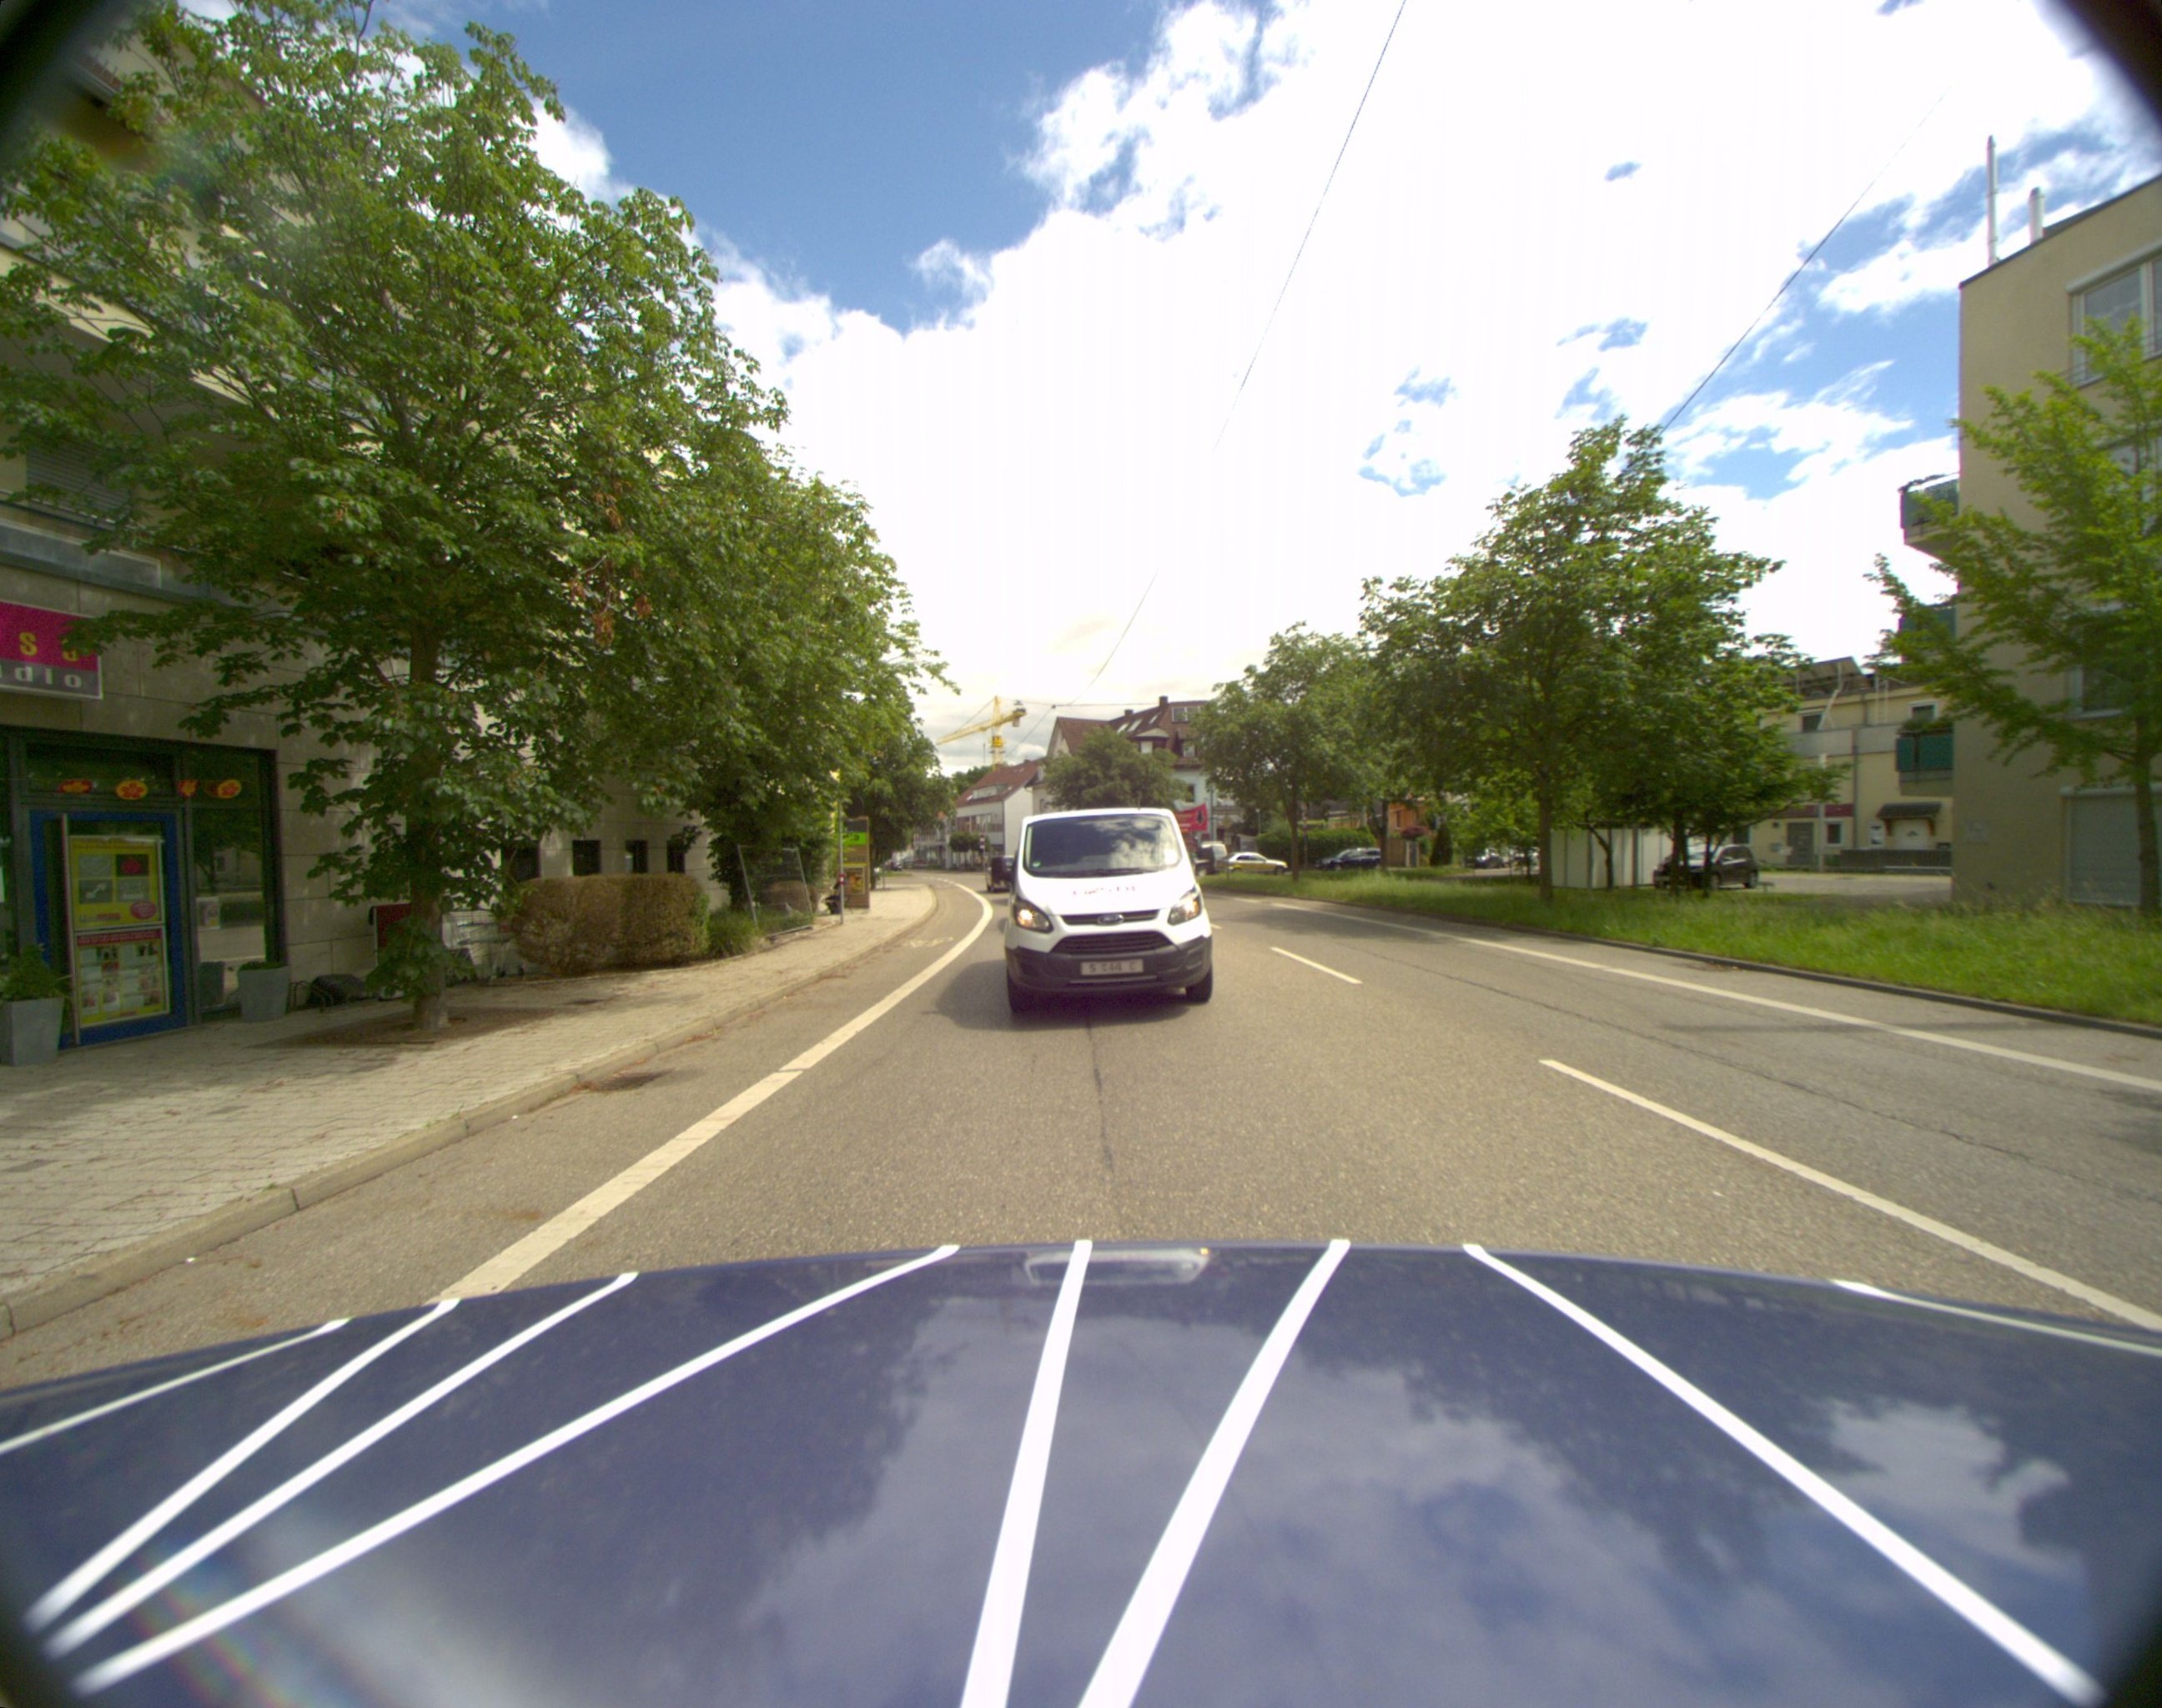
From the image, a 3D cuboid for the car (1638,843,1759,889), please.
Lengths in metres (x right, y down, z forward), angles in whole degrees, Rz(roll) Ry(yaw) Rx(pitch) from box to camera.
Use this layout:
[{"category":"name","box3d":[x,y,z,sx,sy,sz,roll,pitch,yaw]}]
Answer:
[{"category":"car","box3d":[20.278,0.399,24.918,4.007,1.411,1.789,1,-1,-30]}]

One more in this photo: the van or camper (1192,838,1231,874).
[{"category":"van or camper","box3d":[8.279,0.109,48.447,1.794,2.077,3.810,-4,1,1]}]

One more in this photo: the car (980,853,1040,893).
[{"category":"car","box3d":[-3.106,0.772,32.573,1.695,1.477,3.994,-4,1,-17]}]

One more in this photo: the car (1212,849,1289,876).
[{"category":"car","box3d":[9.874,0.471,44.312,4.047,1.314,1.534,-4,2,-14]}]

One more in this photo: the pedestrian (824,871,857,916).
[{"category":"pedestrian","box3d":[-7.225,1.189,22.828,0.731,1.293,0.753,-1,1,-1]}]

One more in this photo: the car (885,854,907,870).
[{"category":"car","box3d":[-22.866,0.954,93.890,1.744,1.840,3.991,-2,1,-27]}]

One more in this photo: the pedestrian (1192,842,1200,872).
[{"category":"pedestrian","box3d":[7.658,0.218,50.638,0.383,1.979,0.443,-4,2,-1]}]

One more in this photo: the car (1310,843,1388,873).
[{"category":"car","box3d":[15.674,0.214,44.531,3.977,1.672,1.716,-1,2,-4]}]

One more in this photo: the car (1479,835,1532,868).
[{"category":"car","box3d":[29.483,-0.161,52.764,4.007,2.002,1.995,-5,2,-42]}]

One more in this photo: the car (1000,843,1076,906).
[{"category":"car","box3d":[-1.520,0.606,25.383,1.853,1.805,3.995,-4,1,-11]}]

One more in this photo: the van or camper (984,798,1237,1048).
[{"category":"van or camper","box3d":[0.202,0.543,8.754,2.027,2.002,5.101,-1,1,-1]}]

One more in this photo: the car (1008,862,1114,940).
[{"category":"car","box3d":[-0.566,0.929,16.716,1.841,1.382,3.997,-1,1,-8]}]

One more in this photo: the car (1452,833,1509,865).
[{"category":"car","box3d":[26.229,-0.318,49.833,4.008,2.002,1.976,-2,0,-42]}]
